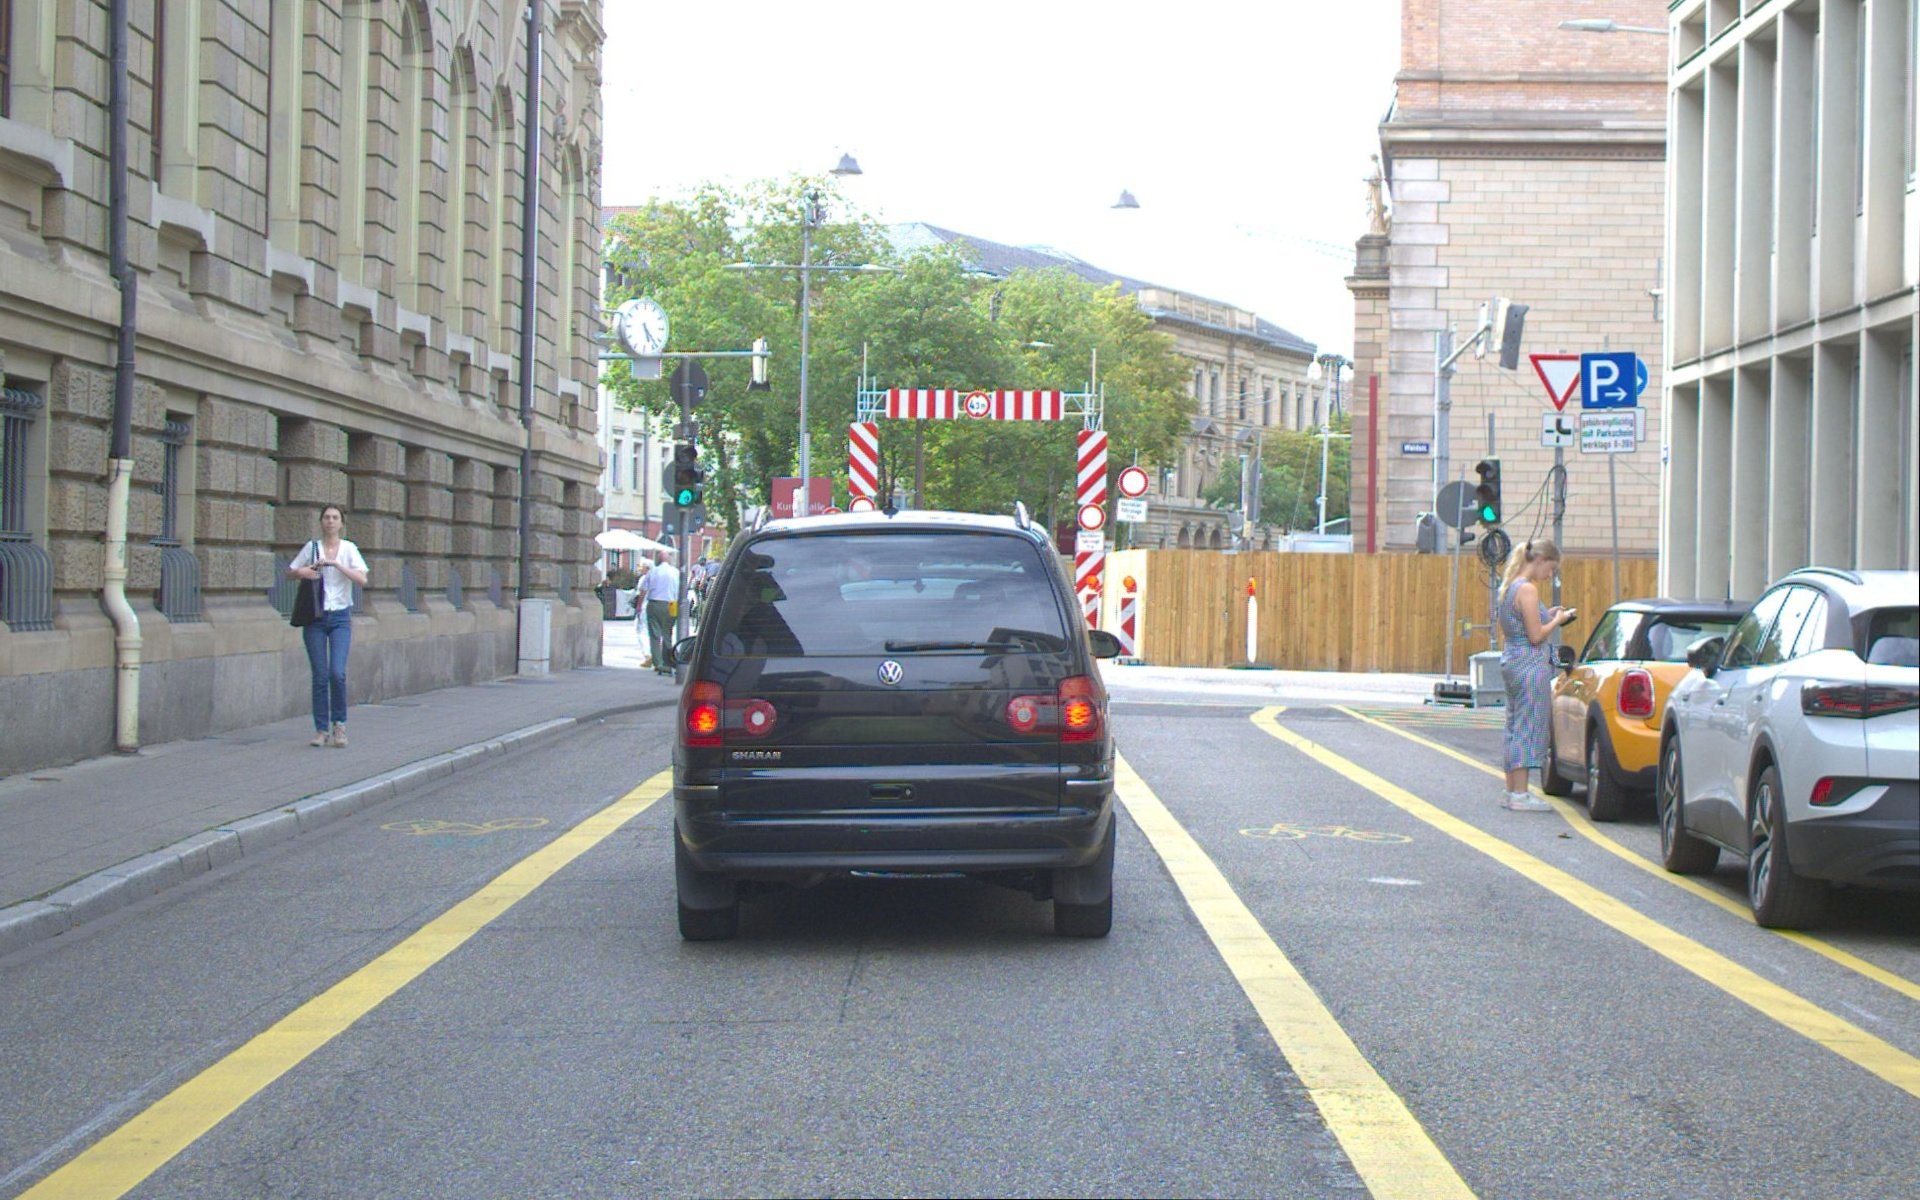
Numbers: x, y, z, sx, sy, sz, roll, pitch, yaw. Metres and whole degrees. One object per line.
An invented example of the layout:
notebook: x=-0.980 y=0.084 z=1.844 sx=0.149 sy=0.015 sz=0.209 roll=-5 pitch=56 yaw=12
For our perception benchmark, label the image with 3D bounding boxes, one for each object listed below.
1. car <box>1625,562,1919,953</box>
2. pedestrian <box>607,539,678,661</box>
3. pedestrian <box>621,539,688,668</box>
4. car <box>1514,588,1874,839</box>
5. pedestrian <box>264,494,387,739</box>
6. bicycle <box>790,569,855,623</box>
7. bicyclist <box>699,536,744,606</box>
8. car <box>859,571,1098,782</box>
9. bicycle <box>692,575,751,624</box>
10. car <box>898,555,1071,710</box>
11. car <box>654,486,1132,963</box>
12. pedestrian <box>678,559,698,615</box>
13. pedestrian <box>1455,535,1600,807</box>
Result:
car: x=4.495 y=0.667 z=16.536 sx=1.860 sy=1.599 sz=4.511 roll=3 pitch=1 yaw=3
pedestrian: x=-4.886 y=-0.007 z=52.936 sx=0.792 sy=1.813 sz=1.048 roll=3 pitch=0 yaw=-18
pedestrian: x=-4.437 y=0.052 z=49.957 sx=0.792 sy=1.813 sz=1.048 roll=3 pitch=0 yaw=0
car: x=4.832 y=0.693 z=23.114 sx=1.680 sy=1.430 sz=3.886 roll=4 pitch=0 yaw=3
pedestrian: x=-4.868 y=0.125 z=26.441 sx=0.664 sy=1.813 sz=1.048 roll=3 pitch=0 yaw=0
bicycle: x=-2.590 y=-0.078 z=64.590 sx=0.735 sy=1.005 sz=2.069 roll=1 pitch=0 yaw=-16
bicyclist: x=-4.999 y=-0.606 z=72.006 sx=0.735 sy=1.465 sz=0.809 roll=1 pitch=0 yaw=-19
car: x=0.210 y=0.541 z=26.620 sx=1.678 sy=1.464 sz=4.103 roll=1 pitch=0 yaw=2
bicycle: x=-5.000 y=-0.025 z=71.983 sx=0.735 sy=1.005 sz=2.069 roll=1 pitch=0 yaw=-18
car: x=0.253 y=0.332 z=37.522 sx=1.773 sy=1.580 sz=4.000 roll=1 pitch=0 yaw=0
car: x=-0.164 y=0.464 z=14.938 sx=1.790 sy=1.784 sz=4.103 roll=0 pitch=0 yaw=3
pedestrian: x=-9.860 y=-0.461 z=124.564 sx=0.585 sy=2.007 sz=0.687 roll=1 pitch=0 yaw=-16
pedestrian: x=3.754 y=0.457 z=22.719 sx=0.699 sy=1.758 sz=0.704 roll=1 pitch=0 yaw=33
